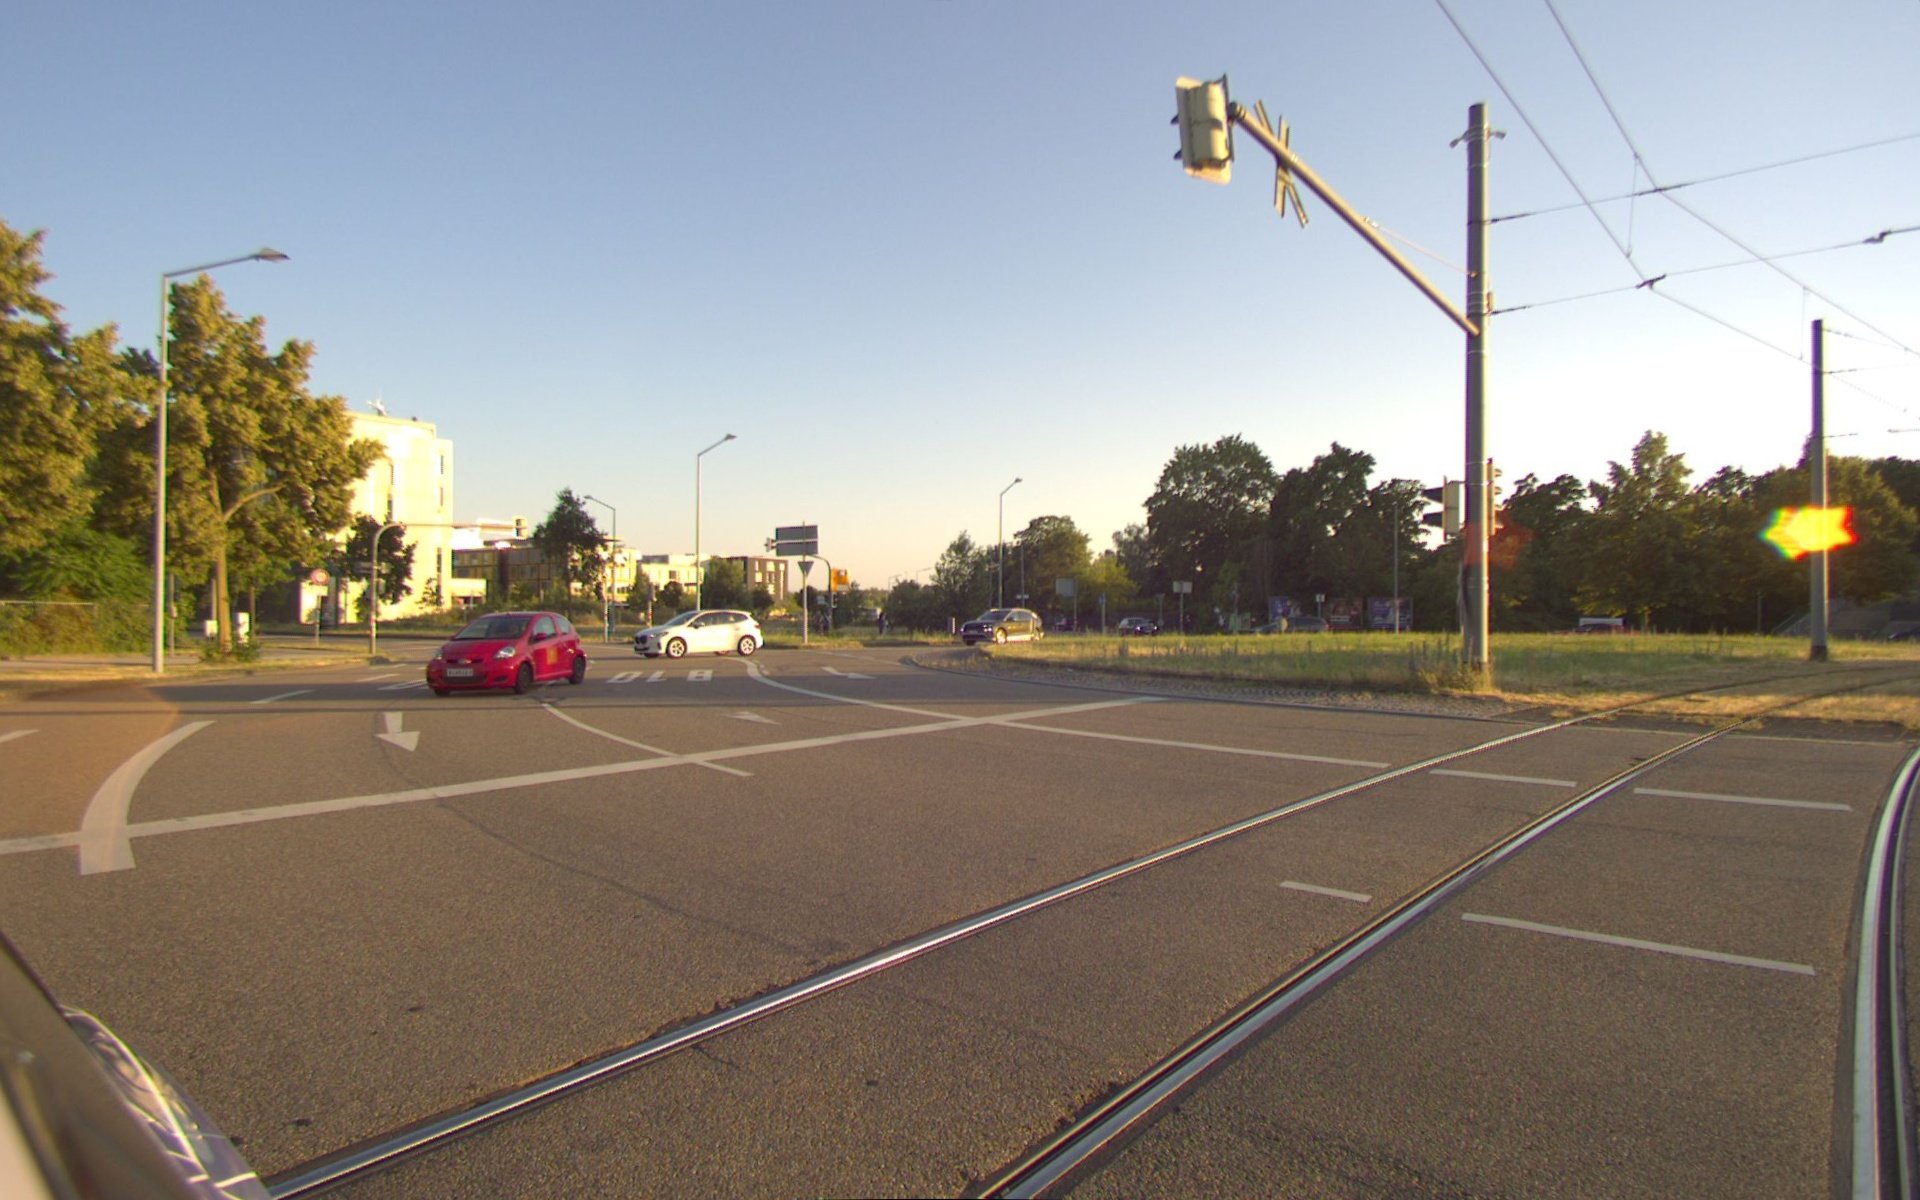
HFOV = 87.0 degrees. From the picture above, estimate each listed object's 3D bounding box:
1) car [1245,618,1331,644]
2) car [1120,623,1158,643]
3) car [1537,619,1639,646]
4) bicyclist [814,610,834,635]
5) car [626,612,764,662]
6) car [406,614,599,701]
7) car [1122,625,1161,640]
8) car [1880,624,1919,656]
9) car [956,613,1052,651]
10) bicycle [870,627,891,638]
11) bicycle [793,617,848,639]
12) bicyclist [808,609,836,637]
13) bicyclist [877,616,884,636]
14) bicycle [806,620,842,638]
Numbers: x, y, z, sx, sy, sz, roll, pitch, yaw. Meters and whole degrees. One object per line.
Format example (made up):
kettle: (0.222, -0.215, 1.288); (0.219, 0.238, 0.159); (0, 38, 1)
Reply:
car: (18.847, 1.775, 58.318); (4.345, 1.443, 1.943); (-1, -2, 3)
car: (13.730, 2.536, 77.965); (1.814, 1.512, 4.259); (0, -1, -5)
car: (35.902, 1.856, 57.939); (1.914, 1.443, 4.602); (1, -2, -40)
bicyclist: (-8.982, 1.501, 66.890); (0.985, 1.645, 0.812); (1, -2, -41)
car: (-8.793, 1.200, 33.744); (4.152, 1.570, 1.761); (1, -2, -45)
car: (-8.341, 1.000, 18.883); (1.671, 1.432, 4.209); (-1, -1, 1)
car: (17.119, 3.066, 95.715); (1.912, 1.443, 4.415); (0, -2, -14)
car: (45.055, 1.805, 45.989); (1.911, 1.443, 4.334); (0, -2, -21)
car: (1.986, 1.395, 44.715); (4.150, 1.570, 1.831); (1, -2, -42)
bicycle: (-5.575, 2.268, 71.014); (1.398, 0.797, 0.474); (0, -2, -3)
bicycle: (-8.877, 1.777, 64.555); (3.483, 1.406, 1.125); (1, -1, -40)
bicyclist: (-8.780, 1.470, 64.563); (1.395, 1.762, 1.125); (1, -1, -40)
bicyclist: (-5.565, 1.830, 71.014); (0.441, 1.408, 0.474); (0, -2, -3)
bicycle: (-8.964, 1.893, 66.901); (2.293, 1.188, 0.812); (1, -2, -41)
